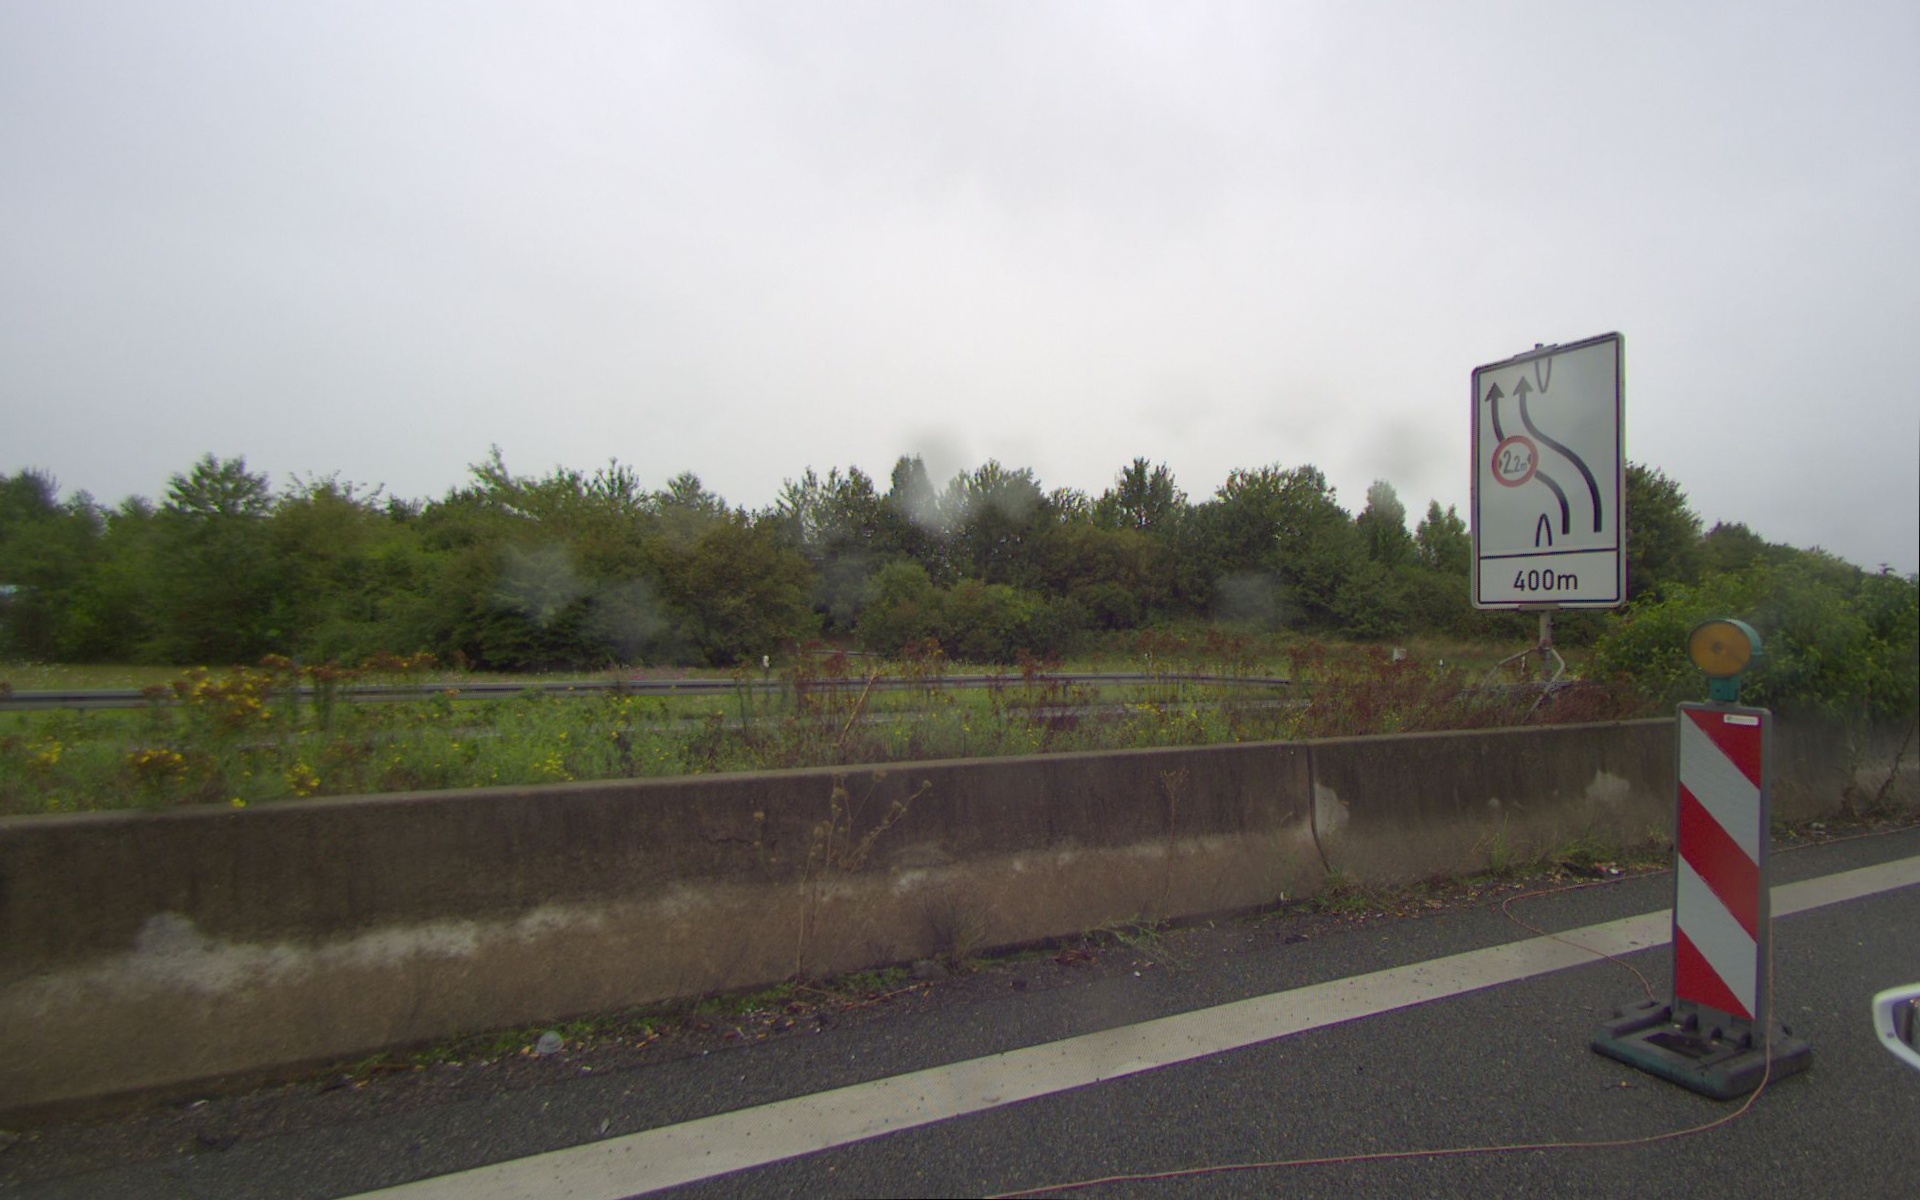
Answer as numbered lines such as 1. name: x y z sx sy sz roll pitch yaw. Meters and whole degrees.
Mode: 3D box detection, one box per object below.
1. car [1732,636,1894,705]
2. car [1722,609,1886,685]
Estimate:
1. car: 22.217 1.770 26.162 3.949 1.671 1.861 1 -2 -28
2. car: 21.946 1.208 26.110 3.952 1.825 1.985 2 0 -29
